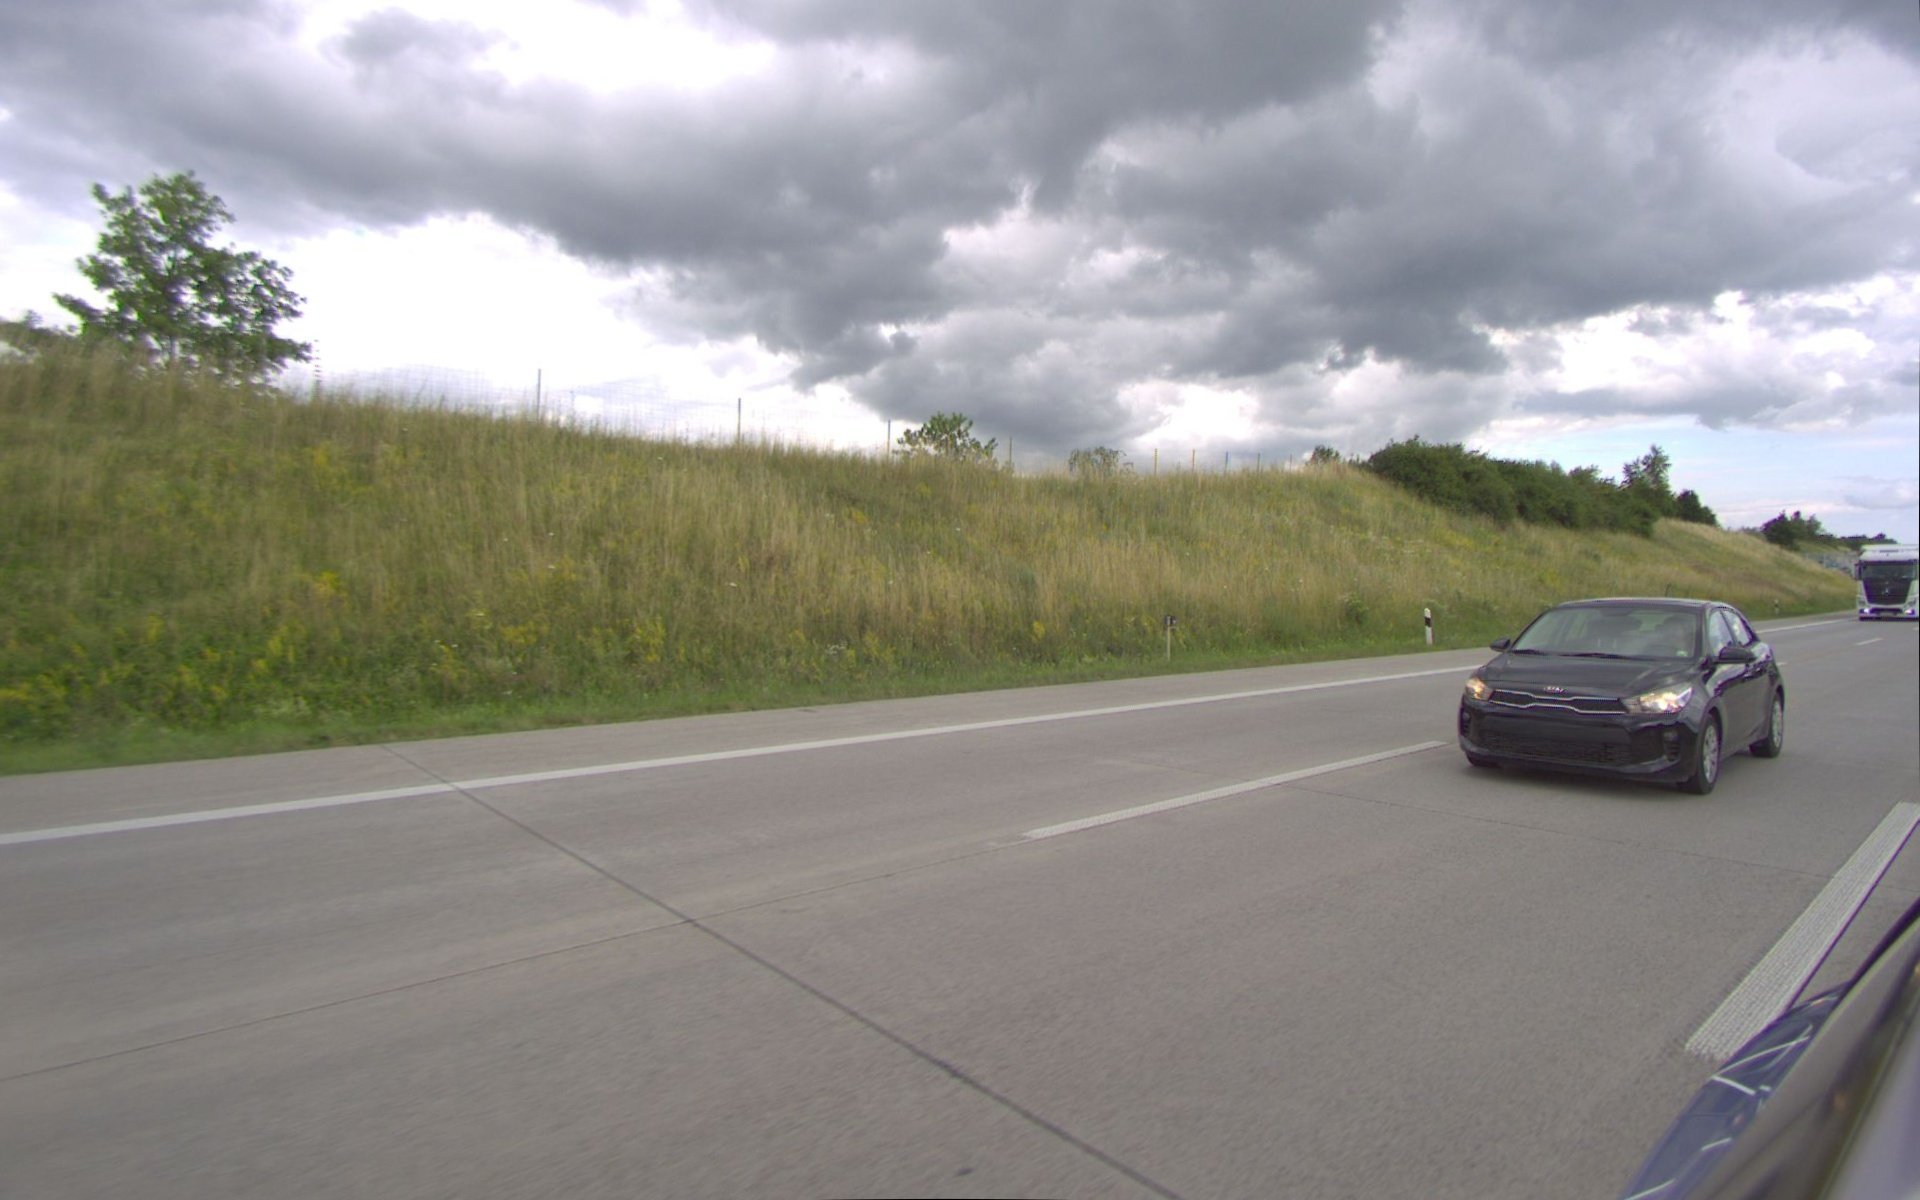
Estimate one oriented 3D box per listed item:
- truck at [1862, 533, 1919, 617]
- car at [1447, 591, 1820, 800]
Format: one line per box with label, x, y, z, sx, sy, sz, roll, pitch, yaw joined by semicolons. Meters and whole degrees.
truck;52.263;-1.286;55.485;10.522;4.253;2.852;0;0;-41
car;6.044;0.647;8.921;3.929;1.431;1.690;-1;1;-40
